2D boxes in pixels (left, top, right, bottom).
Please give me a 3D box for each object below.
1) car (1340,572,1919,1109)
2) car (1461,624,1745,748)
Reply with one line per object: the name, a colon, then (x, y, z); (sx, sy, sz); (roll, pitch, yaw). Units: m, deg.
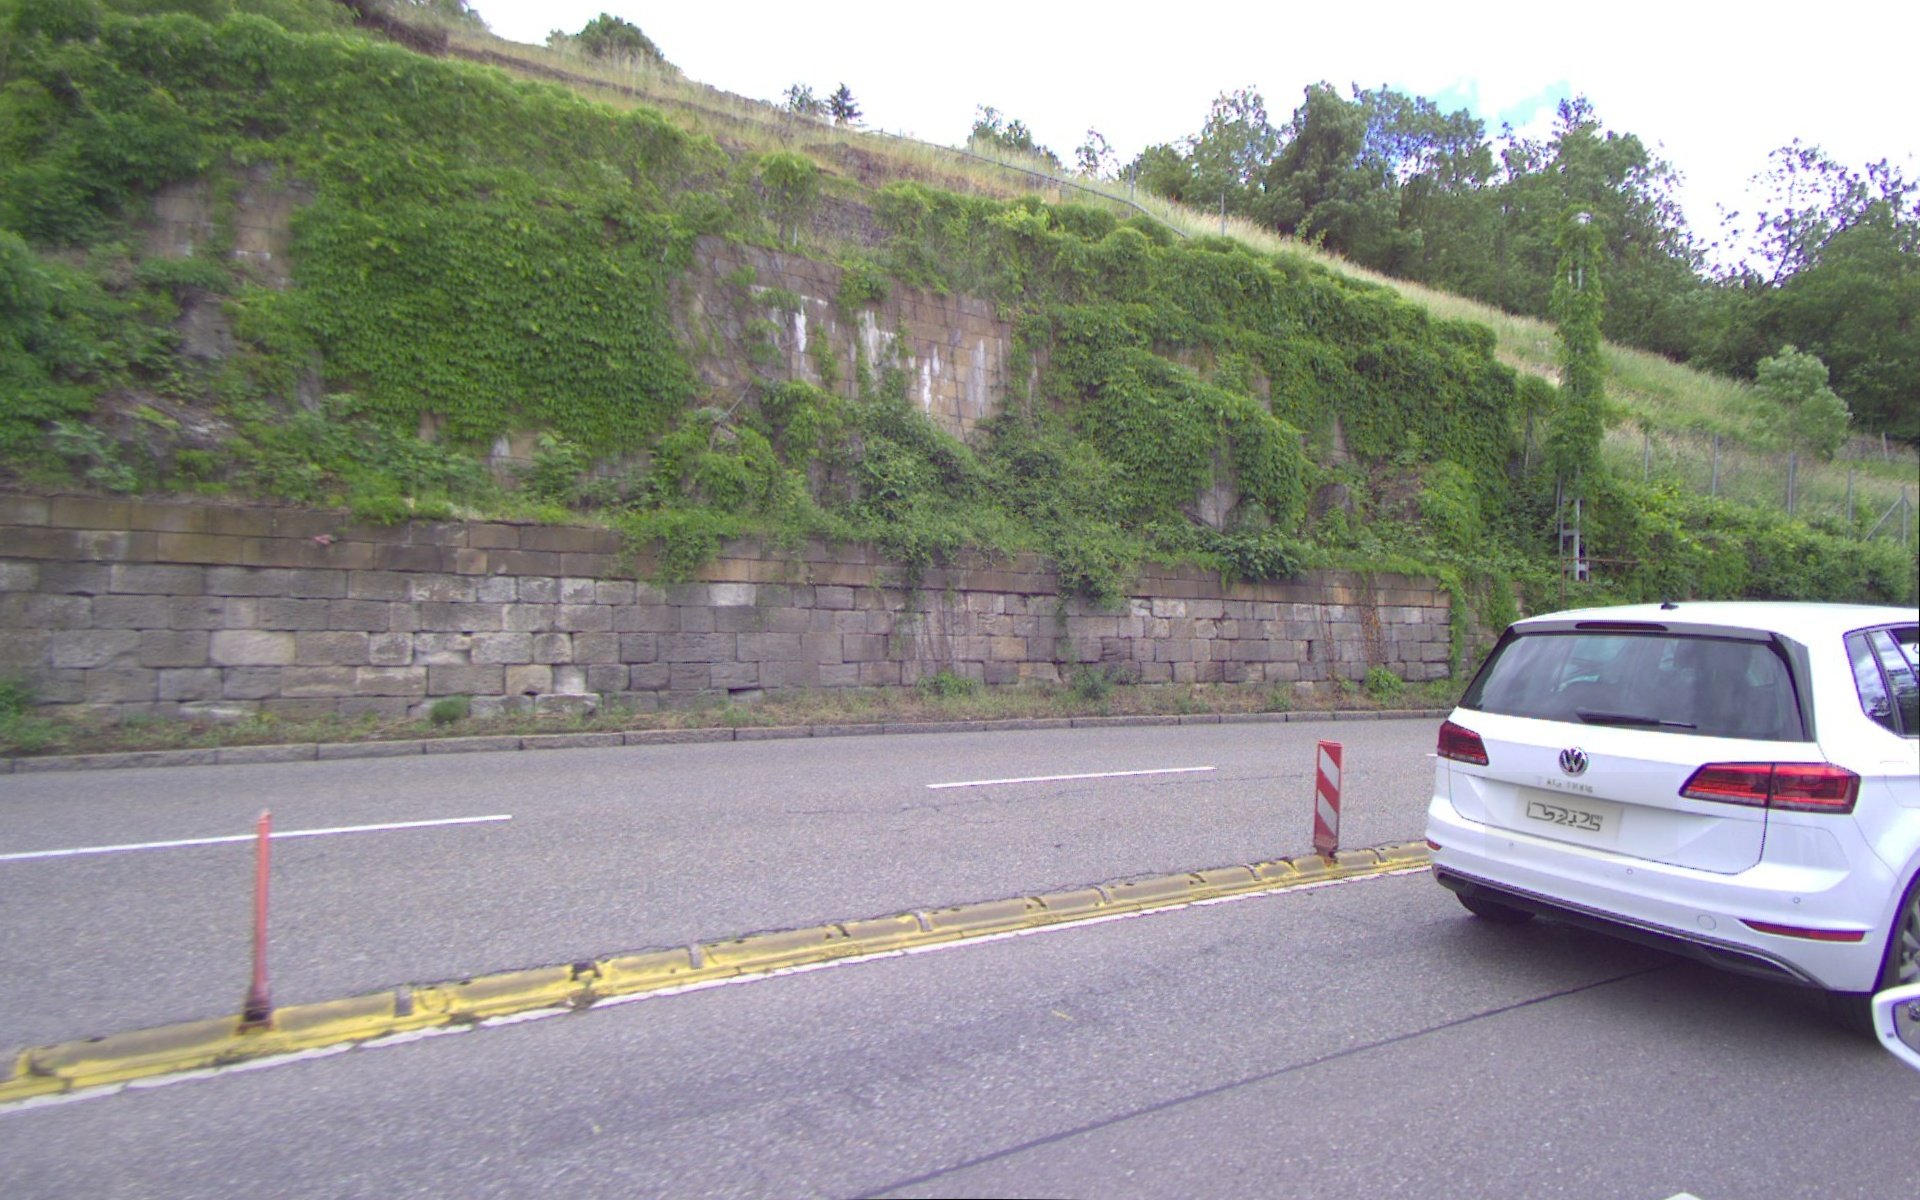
car: (4.079, 0.791, 4.811); (4.301, 1.601, 1.814); (2, -1, -27)
car: (9.011, 1.126, 14.019); (3.953, 1.461, 1.698); (2, 0, -30)
